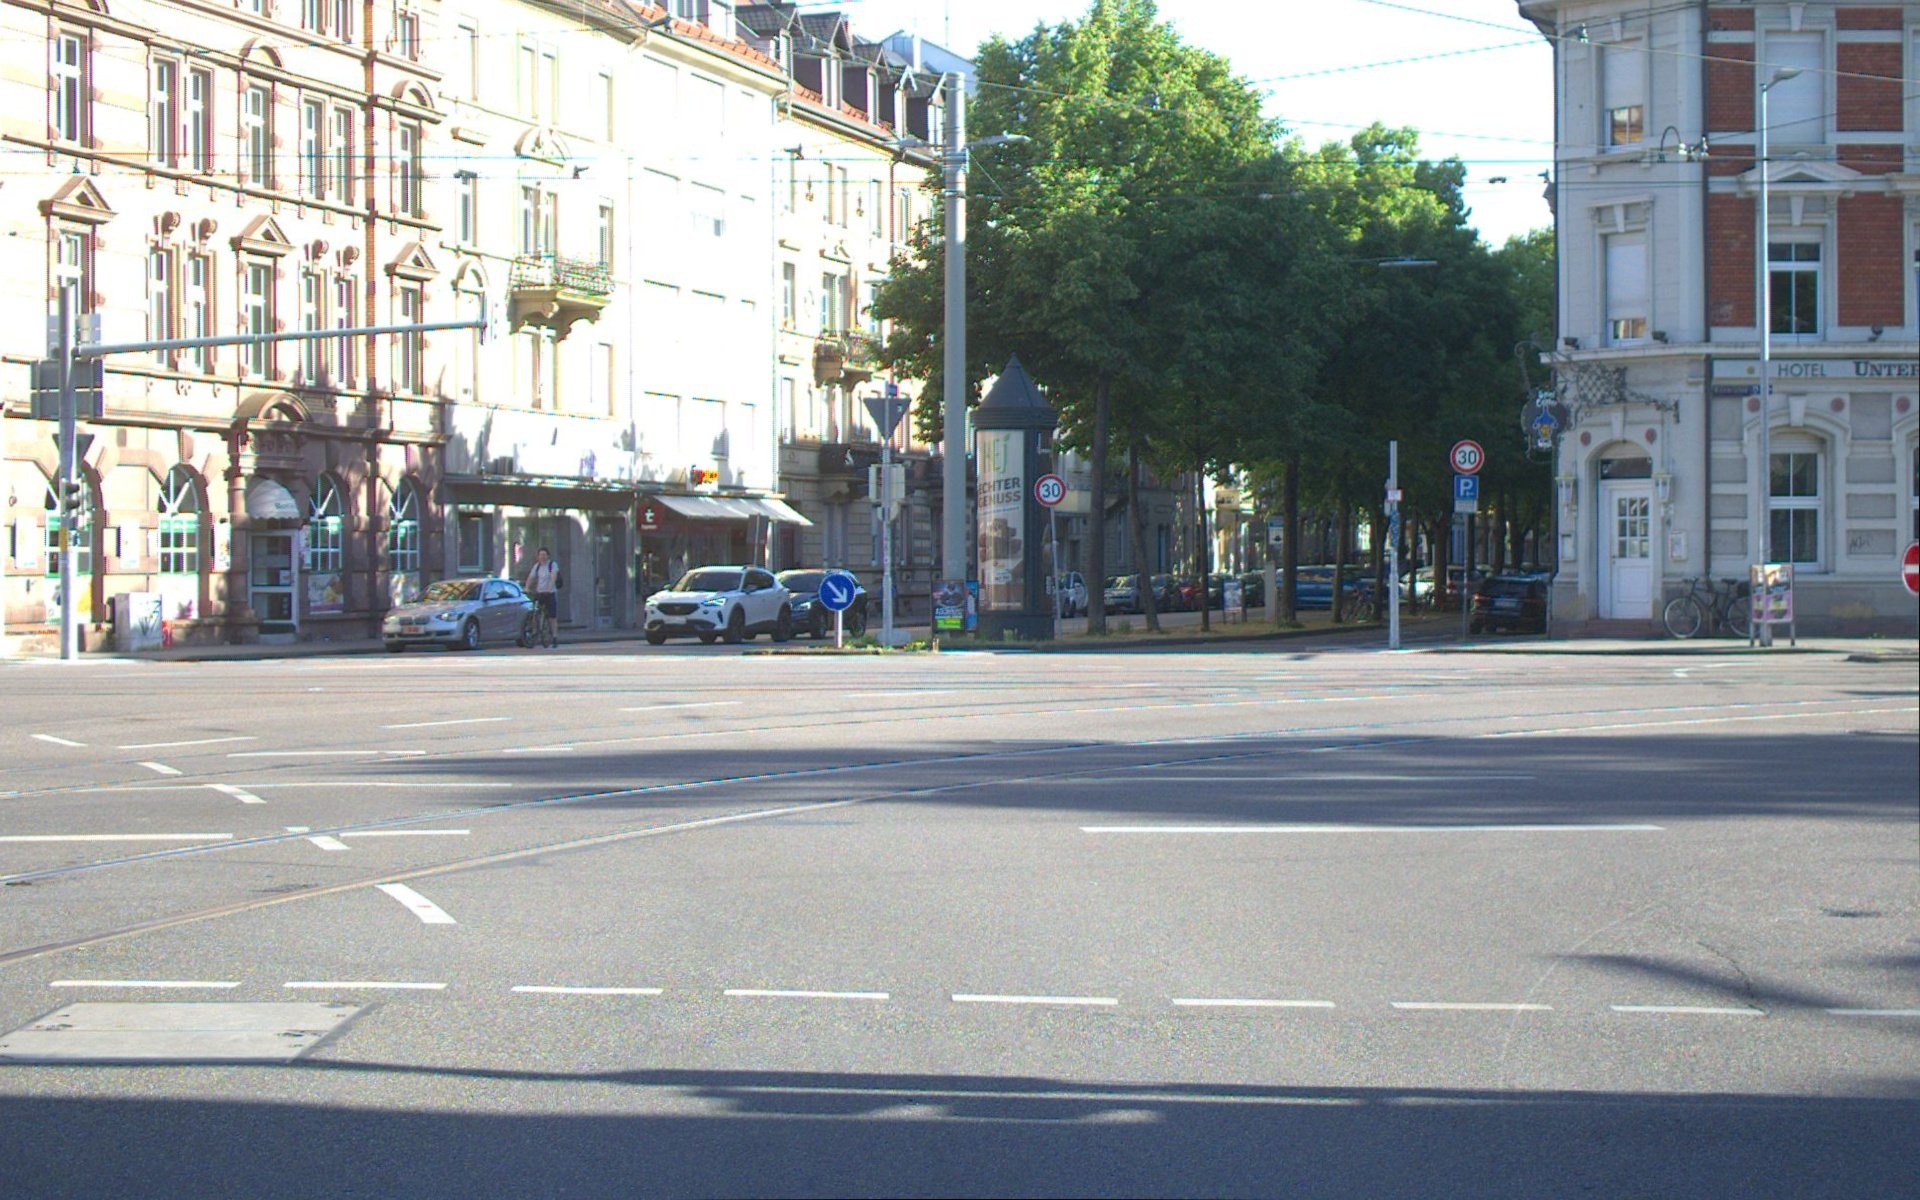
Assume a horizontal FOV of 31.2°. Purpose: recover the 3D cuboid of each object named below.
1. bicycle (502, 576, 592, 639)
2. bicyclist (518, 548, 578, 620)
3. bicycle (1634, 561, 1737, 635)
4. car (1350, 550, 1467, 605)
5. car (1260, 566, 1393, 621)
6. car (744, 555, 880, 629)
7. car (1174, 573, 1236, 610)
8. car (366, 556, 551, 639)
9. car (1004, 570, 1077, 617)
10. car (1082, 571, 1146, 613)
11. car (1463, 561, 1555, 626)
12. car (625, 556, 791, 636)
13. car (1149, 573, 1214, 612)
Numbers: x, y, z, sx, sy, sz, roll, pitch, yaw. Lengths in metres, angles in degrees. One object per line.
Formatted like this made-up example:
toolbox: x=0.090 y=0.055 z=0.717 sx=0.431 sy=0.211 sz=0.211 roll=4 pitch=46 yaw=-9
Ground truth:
bicycle: x=-7.868 y=0.129 z=65.634 sx=0.751 sy=1.131 sz=2.808 roll=0 pitch=1 yaw=14
bicyclist: x=-7.854 y=-0.313 z=65.596 sx=0.794 sy=1.370 sz=1.107 roll=0 pitch=1 yaw=14
bicycle: x=12.061 y=-0.034 z=57.140 sx=1.639 sy=1.218 sz=0.606 roll=0 pitch=1 yaw=16
car: x=17.407 y=-0.873 z=133.430 sx=4.115 sy=1.912 sz=1.744 roll=3 pitch=1 yaw=21
car: x=12.289 y=-0.223 z=115.231 sx=4.113 sy=1.640 sz=1.745 roll=3 pitch=1 yaw=15
car: x=-3.130 y=-0.189 z=73.538 sx=1.994 sy=1.508 sz=3.998 roll=0 pitch=1 yaw=12
car: x=9.724 y=-0.344 z=136.392 sx=1.742 sy=1.393 sz=4.121 roll=3 pitch=1 yaw=13
car: x=-9.778 y=-0.069 z=67.385 sx=2.098 sy=1.540 sz=4.361 roll=0 pitch=1 yaw=14
car: x=2.595 y=-0.213 z=110.007 sx=1.741 sy=1.393 sz=4.122 roll=3 pitch=1 yaw=9
car: x=5.506 y=-0.299 z=122.789 sx=1.741 sy=1.393 sz=4.122 roll=3 pitch=1 yaw=9
car: x=13.166 y=-0.155 z=82.292 sx=1.652 sy=1.519 sz=3.750 roll=0 pitch=0 yaw=17
car: x=-4.879 y=-0.102 z=67.171 sx=2.098 sy=1.494 sz=3.998 roll=0 pitch=1 yaw=14
car: x=8.506 y=-0.309 z=131.613 sx=1.742 sy=1.393 sz=4.121 roll=3 pitch=1 yaw=13
